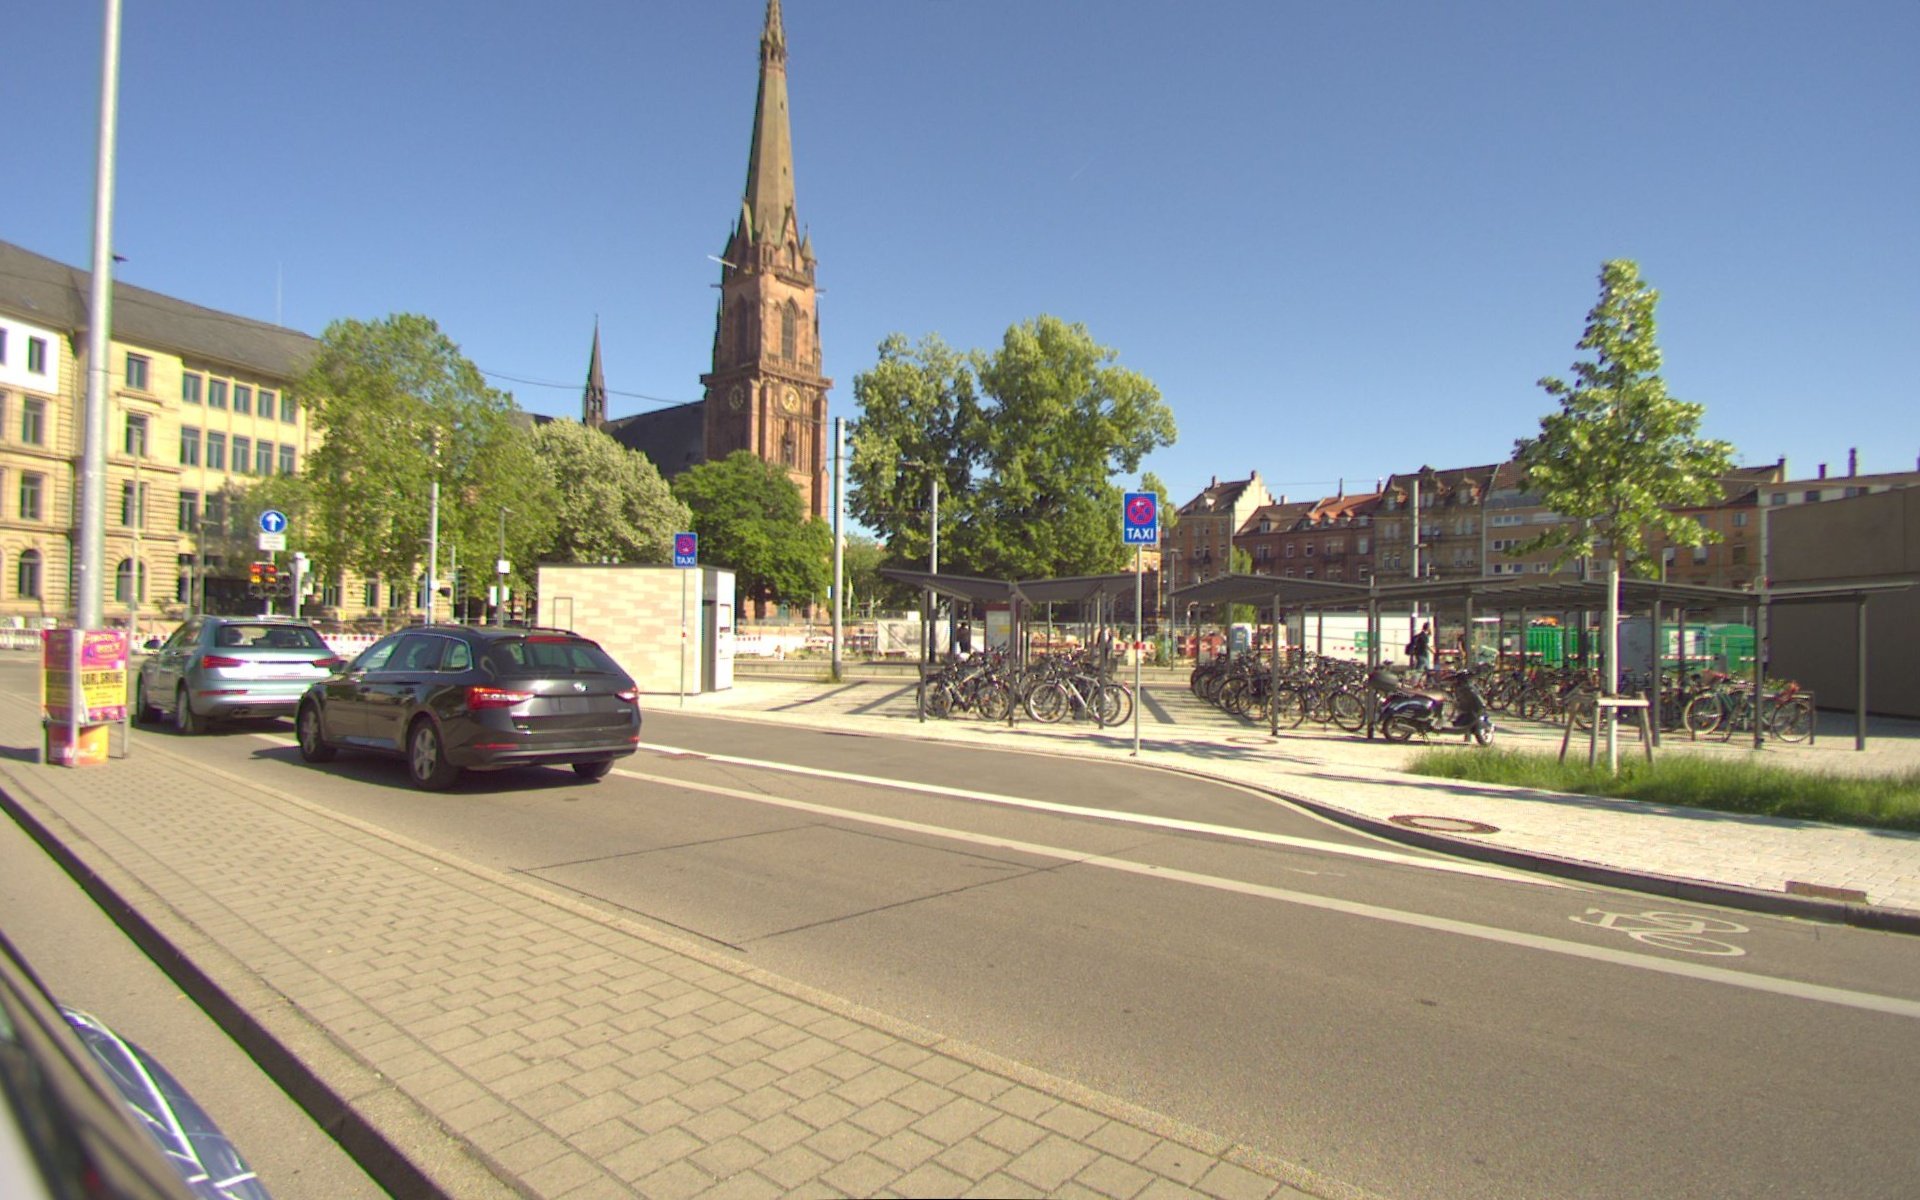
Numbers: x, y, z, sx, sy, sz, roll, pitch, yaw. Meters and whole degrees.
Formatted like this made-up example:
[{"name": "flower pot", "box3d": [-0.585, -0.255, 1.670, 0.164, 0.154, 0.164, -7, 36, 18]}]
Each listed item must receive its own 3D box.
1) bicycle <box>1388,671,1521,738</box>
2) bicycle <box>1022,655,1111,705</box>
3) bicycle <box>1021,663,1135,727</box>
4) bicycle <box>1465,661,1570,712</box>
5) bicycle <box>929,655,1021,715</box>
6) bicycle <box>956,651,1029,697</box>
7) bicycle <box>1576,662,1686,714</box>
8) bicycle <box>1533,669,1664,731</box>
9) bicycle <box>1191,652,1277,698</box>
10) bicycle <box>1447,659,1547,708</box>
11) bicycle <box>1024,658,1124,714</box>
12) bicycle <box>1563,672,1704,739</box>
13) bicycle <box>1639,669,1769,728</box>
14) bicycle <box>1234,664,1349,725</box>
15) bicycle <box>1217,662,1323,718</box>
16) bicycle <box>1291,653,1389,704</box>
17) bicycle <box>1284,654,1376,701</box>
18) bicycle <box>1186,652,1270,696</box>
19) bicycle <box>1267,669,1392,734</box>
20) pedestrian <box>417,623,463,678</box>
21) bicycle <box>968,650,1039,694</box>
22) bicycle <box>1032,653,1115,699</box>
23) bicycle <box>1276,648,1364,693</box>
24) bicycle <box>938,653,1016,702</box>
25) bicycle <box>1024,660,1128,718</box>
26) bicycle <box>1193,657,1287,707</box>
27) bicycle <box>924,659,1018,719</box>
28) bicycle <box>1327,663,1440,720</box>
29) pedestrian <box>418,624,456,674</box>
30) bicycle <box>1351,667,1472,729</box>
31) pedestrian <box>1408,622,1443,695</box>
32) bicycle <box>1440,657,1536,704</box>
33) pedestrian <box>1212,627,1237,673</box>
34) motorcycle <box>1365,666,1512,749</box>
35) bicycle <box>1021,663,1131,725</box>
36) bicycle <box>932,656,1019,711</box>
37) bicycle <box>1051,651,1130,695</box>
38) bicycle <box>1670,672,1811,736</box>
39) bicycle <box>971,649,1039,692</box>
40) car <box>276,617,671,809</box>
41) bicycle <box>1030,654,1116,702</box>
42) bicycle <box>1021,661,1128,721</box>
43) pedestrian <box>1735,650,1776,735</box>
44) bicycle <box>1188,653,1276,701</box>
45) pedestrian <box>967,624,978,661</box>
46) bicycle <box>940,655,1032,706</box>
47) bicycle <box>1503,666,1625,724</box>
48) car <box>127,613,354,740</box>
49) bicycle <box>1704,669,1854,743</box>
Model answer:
[{"name": "bicycle", "box3d": [8.034, 1.690, 16.489, 1.882, 1.016, 0.456, 0, -2, 8]}, {"name": "bicycle", "box3d": [2.303, 1.720, 21.916, 1.882, 1.016, 0.456, 0, -2, 8]}, {"name": "bicycle", "box3d": [1.995, 1.601, 17.110, 1.882, 1.016, 0.456, 0, -2, 8]}, {"name": "bicycle", "box3d": [11.720, 1.813, 21.308, 1.882, 1.016, 0.456, 0, -2, 8]}, {"name": "bicycle", "box3d": [0.285, 1.566, 18.773, 1.652, 1.069, 0.456, 0, -2, 8]}, {"name": "bicycle", "box3d": [0.752, 1.708, 23.478, 1.652, 1.016, 0.456, 0, -2, 8]}, {"name": "bicycle", "box3d": [13.879, 1.817, 20.966, 1.882, 1.016, 0.456, 0, -2, 8]}, {"name": "bicycle", "box3d": [11.106, 1.731, 17.637, 1.882, 1.016, 0.456, 0, -2, 8]}, {"name": "bicycle", "box3d": [6.372, 1.730, 23.563, 1.882, 1.016, 0.456, 0, -2, 8]}, {"name": "bicycle", "box3d": [11.789, 1.823, 22.239, 1.882, 1.016, 0.456, 0, -2, 8]}, {"name": "bicycle", "box3d": [2.202, 1.657, 19.581, 1.882, 1.016, 0.456, 0, -2, 8]}, {"name": "bicycle", "box3d": [10.978, 1.716, 16.532, 1.882, 1.016, 0.456, 0, -2, 8]}, {"name": "bicycle", "box3d": [13.475, 1.775, 18.359, 1.882, 1.016, 0.456, 0, -2, 8]}, {"name": "bicycle", "box3d": [5.905, 1.681, 18.088, 1.882, 1.016, 0.456, 0, -2, 8]}, {"name": "bicycle", "box3d": [5.903, 1.706, 19.318, 1.882, 1.016, 0.456, 0, -2, 8]}, {"name": "bicycle", "box3d": [8.062, 1.659, 21.515, 1.882, 1.016, 0.456, 0, -2, 8]}, {"name": "bicycle", "box3d": [8.321, 1.734, 22.813, 1.882, 1.016, 0.456, 0, -2, 8]}, {"name": "bicycle", "box3d": [6.399, 1.761, 24.221, 1.882, 1.016, 0.456, 0, -2, 8]}, {"name": "bicycle", "box3d": [6.127, 1.680, 16.835, 1.882, 1.016, 0.456, 0, -2, 8]}, {"name": "pedestrian", "box3d": [-17.235, 1.665, 33.527, 1.130, 1.793, 0.965, -1, -2, 40]}, {"name": "bicycle", "box3d": [1.048, 1.713, 24.222, 1.652, 1.016, 0.456, 0, -2, 8]}, {"name": "bicycle", "box3d": [2.612, 1.746, 23.300, 1.882, 1.016, 0.456, 0, -2, 8]}, {"name": "bicycle", "box3d": [8.492, 1.651, 23.905, 1.882, 1.016, 0.456, 0, -2, 8]}, {"name": "bicycle", "box3d": [0.377, 1.689, 22.220, 1.652, 1.016, 0.456, 0, -2, 8]}, {"name": "bicycle", "box3d": [2.142, 1.644, 18.739, 1.882, 1.016, 0.456, 0, -2, 8]}, {"name": "bicycle", "box3d": [5.971, 1.745, 21.605, 1.882, 1.016, 0.456, 0, -2, 8]}, {"name": "bicycle", "box3d": [0.207, 1.584, 18.187, 1.652, 1.016, 0.456, 0, -2, 8]}, {"name": "bicycle", "box3d": [7.923, 1.710, 18.991, 1.882, 1.016, 0.456, 0, -2, 8]}, {"name": "pedestrian", "box3d": [-19.160, 1.785, 37.065, 0.802, 1.793, 0.965, -1, -2, 40]}, {"name": "bicycle", "box3d": [7.900, 1.707, 17.758, 1.882, 1.016, 0.456, 0, -2, 8]}, {"name": "pedestrian", "box3d": [12.052, 1.512, 26.230, 0.676, 1.848, 0.564, 0, -2, 8]}, {"name": "bicycle", "box3d": [12.085, 1.835, 23.189, 1.882, 1.016, 0.456, 0, -2, 8]}, {"name": "pedestrian", "box3d": [10.531, 1.993, 40.358, 0.792, 1.793, 0.977, 0, -2, 3]}, {"name": "motorcycle", "box3d": [7.166, 1.601, 15.221, 1.924, 1.160, 0.516, 0, -2, 6]}, {"name": "bicycle", "box3d": [2.024, 1.622, 17.670, 1.882, 1.016, 0.456, 0, -2, 8]}, {"name": "bicycle", "box3d": [0.311, 1.628, 19.884, 1.652, 1.016, 0.456, 0, -2, 8]}, {"name": "bicycle", "box3d": [3.168, 1.775, 24.595, 1.882, 1.016, 0.456, 0, -2, 8]}, {"name": "bicycle", "box3d": [13.134, 1.741, 17.061, 1.882, 1.016, 0.456, 0, -2, 8]}, {"name": "bicycle", "box3d": [1.113, 1.727, 24.938, 1.652, 1.016, 0.456, 0, -2, 8]}, {"name": "car", "box3d": [-5.019, 0.964, 10.152, 4.571, 1.511, 1.771, -1, -3, 39]}, {"name": "bicycle", "box3d": [2.516, 1.725, 22.530, 1.882, 1.016, 0.456, 0, -2, 8]}, {"name": "bicycle", "box3d": [2.060, 1.631, 18.257, 1.882, 1.016, 0.456, 0, -2, 8]}, {"name": "pedestrian", "box3d": [19.612, 2.262, 24.950, 0.718, 2.029, 0.678, -1, -4, 41]}, {"name": "bicycle", "box3d": [6.155, 1.736, 22.939, 1.882, 1.016, 0.456, 0, -2, 8]}, {"name": "pedestrian", "box3d": [0.593, 1.992, 47.612, 0.399, 1.734, 0.419, 1, -2, -11]}, {"name": "bicycle", "box3d": [0.549, 1.673, 21.222, 1.882, 1.016, 0.456, 0, -2, 8]}, {"name": "bicycle", "box3d": [11.169, 1.754, 18.753, 1.882, 1.016, 0.456, 0, -2, 8]}, {"name": "car", "box3d": [-10.429, 1.019, 14.551, 4.241, 1.554, 1.835, -1, -4, 44]}, {"name": "bicycle", "box3d": [13.087, 1.683, 16.201, 1.882, 1.106, 0.456, 0, -2, 8]}]
